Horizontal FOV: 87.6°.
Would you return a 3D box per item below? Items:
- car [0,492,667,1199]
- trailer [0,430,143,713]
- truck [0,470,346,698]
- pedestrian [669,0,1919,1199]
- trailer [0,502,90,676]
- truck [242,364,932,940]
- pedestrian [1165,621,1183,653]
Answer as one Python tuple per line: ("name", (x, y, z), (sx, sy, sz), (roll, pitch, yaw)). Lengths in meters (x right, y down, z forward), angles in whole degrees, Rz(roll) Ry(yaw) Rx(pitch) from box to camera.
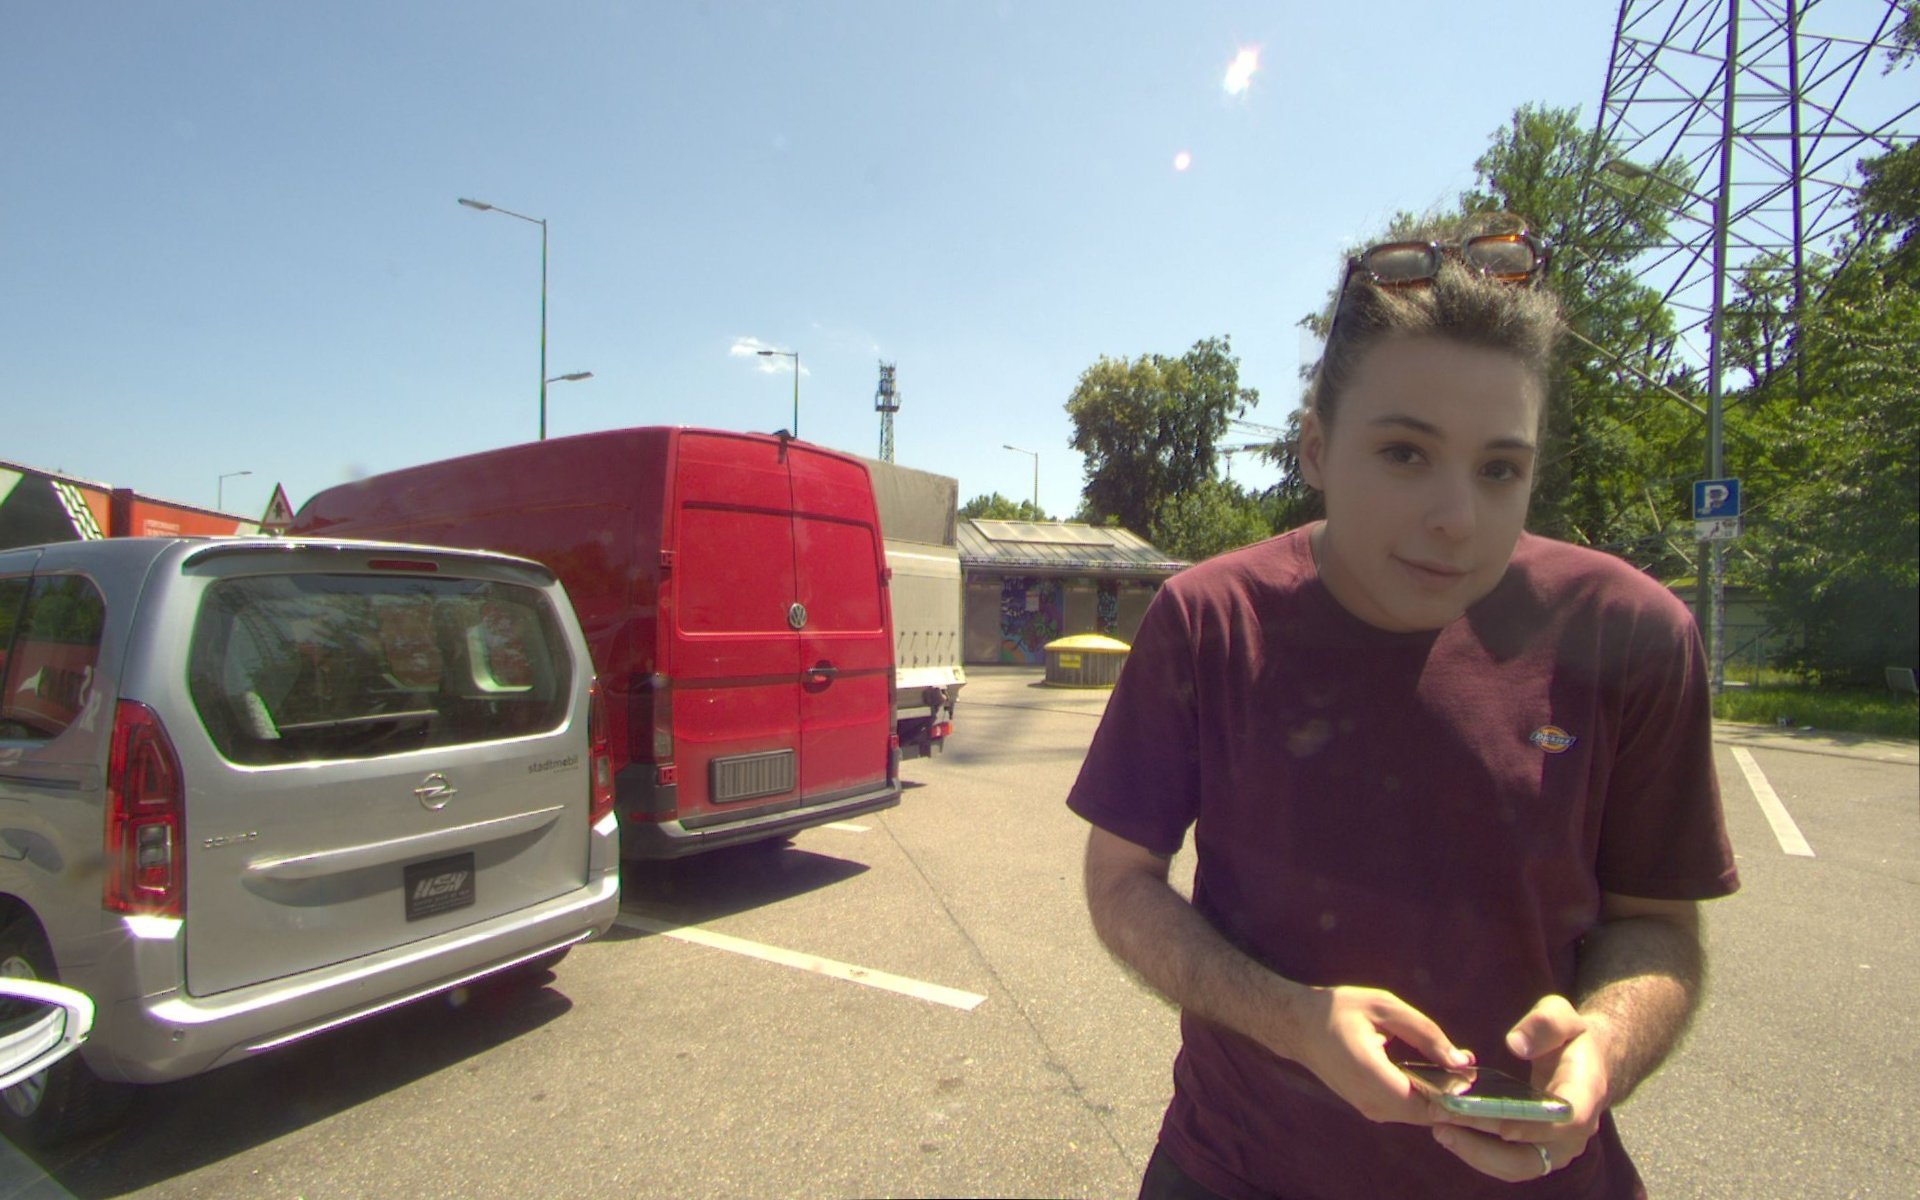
("car", (-3.354, 0.638, 4.213), (3.938, 1.776, 1.824), (0, -1, 29))
("trailer", (-15.854, -0.468, 14.455), (2.792, 4.313, 8.675), (1, -1, -14))
("truck", (-18.059, -0.182, 23.722), (2.644, 4.181, 10.595), (1, -1, -13))
("pedestrian", (0.384, 0.502, 0.880), (0.926, 1.798, 0.827), (1, -1, 28))
("trailer", (-28.621, -0.284, 27.909), (13.374, 4.178, 2.871), (0, -1, 33))
("truck", (-2.869, 0.263, 6.998), (5.233, 2.658, 1.987), (0, -1, 37))
("pedestrian", (9.613, 1.664, 44.969), (0.579, 1.402, 0.754), (0, -1, -8))
